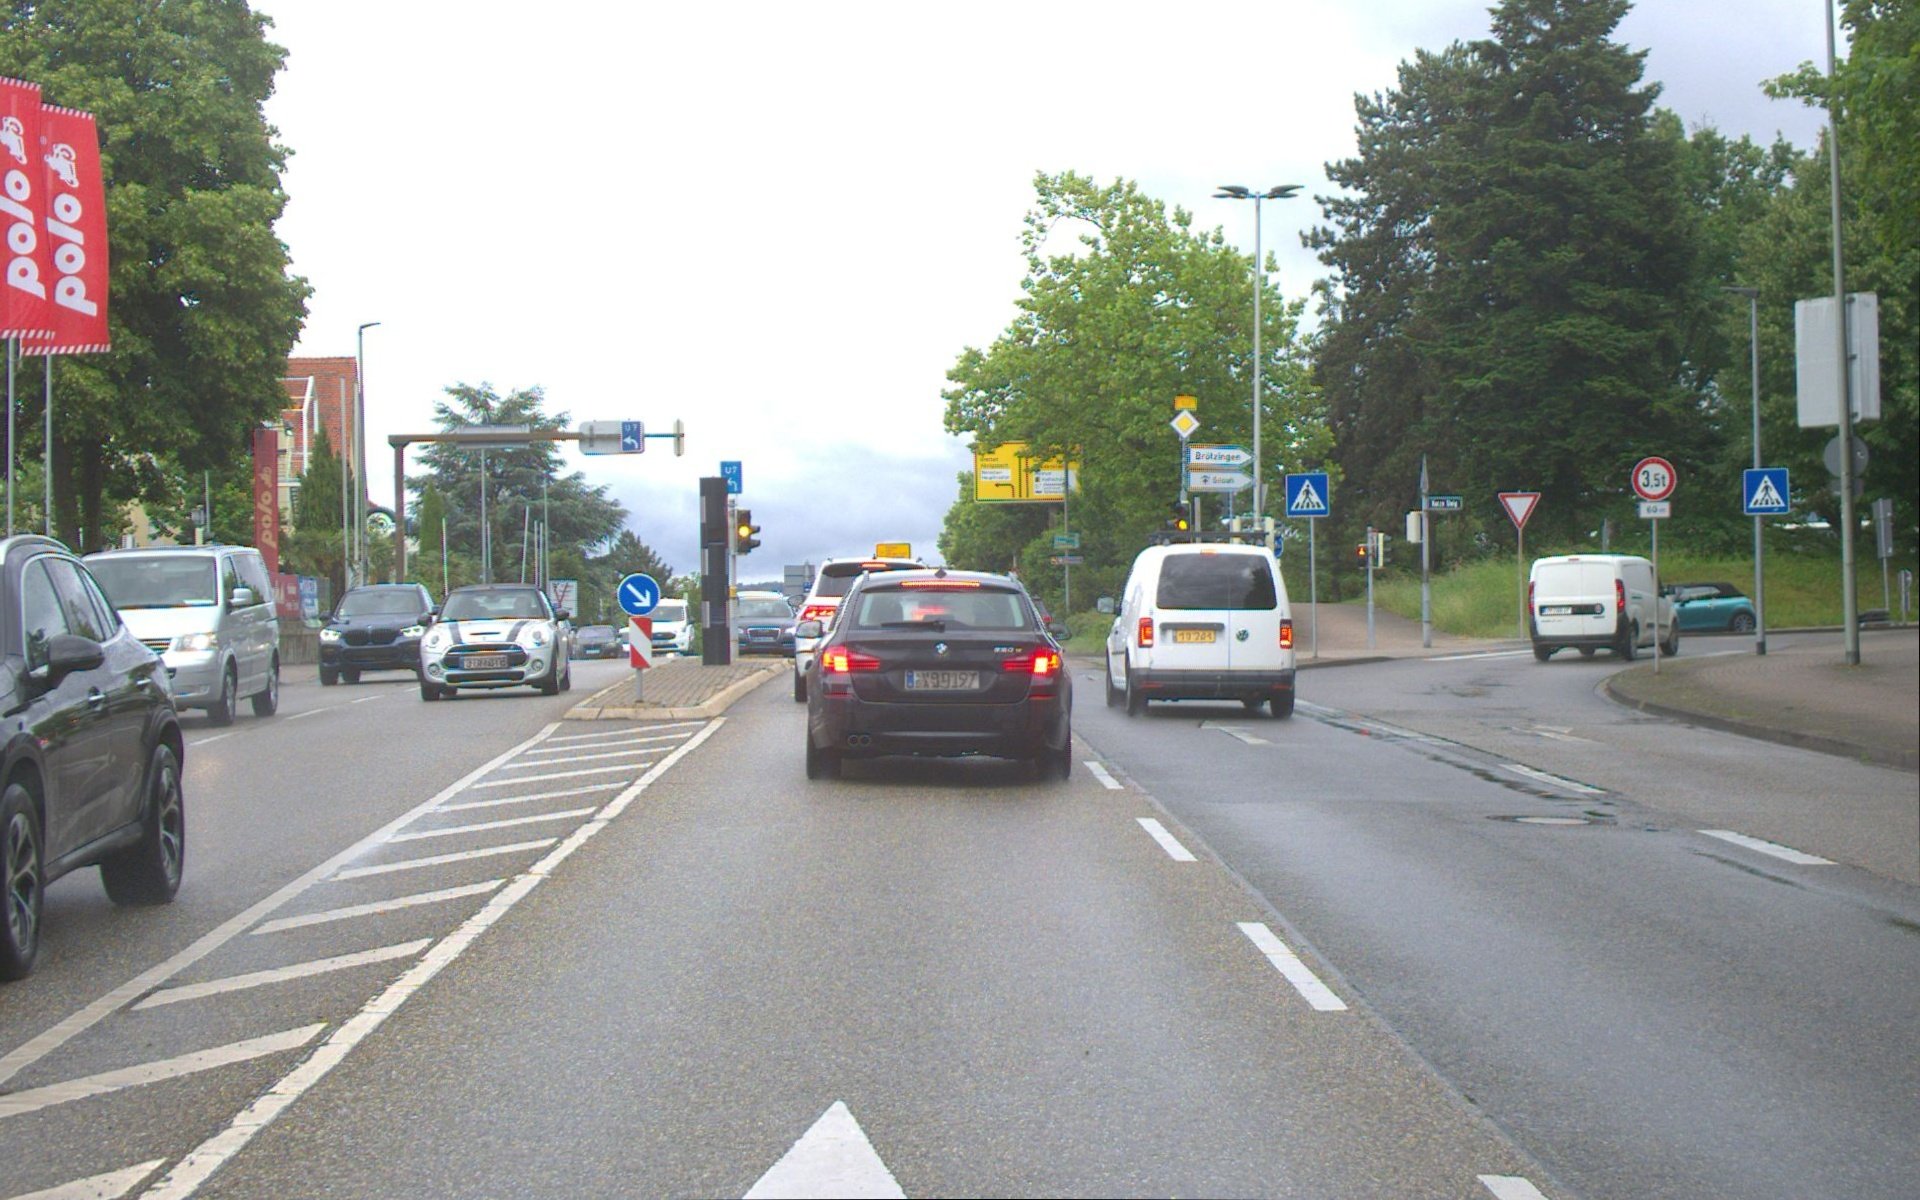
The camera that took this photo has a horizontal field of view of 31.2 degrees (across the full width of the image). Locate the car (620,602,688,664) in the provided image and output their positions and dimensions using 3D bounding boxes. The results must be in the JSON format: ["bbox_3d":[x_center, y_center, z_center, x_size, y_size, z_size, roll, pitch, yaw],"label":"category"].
[{"bbox_3d":[-9.523,1.015,107.119,1.857,1.817,4.580,-3,0,-3],"label":"car"}]

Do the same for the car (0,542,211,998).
[{"bbox_3d":[-4.348,0.608,13.726,1.822,1.602,4.284,-2,1,-1],"label":"car"}]

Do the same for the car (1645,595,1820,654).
[{"bbox_3d":[19.305,0.599,85.972,3.986,1.289,1.609,-2,1,-19],"label":"car"}]

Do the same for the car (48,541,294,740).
[{"bbox_3d":[-8.582,0.393,37.773,1.795,1.976,4.899,-2,1,-4],"label":"car"}]

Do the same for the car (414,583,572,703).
[{"bbox_3d":[-5.927,0.514,43.971,1.667,1.393,4.000,-2,0,-3],"label":"car"}]

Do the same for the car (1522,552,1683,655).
[{"bbox_3d":[11.394,0.035,60.790,1.817,1.702,3.940,0,2,26],"label":"car"}]

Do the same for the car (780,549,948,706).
[{"bbox_3d":[-1.083,0.284,40.158,1.728,1.705,3.382,1,1,2],"label":"car"}]

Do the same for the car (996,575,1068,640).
[{"bbox_3d":[1.666,0.165,80.347,1.600,1.367,3.680,-1,2,0],"label":"car"}]

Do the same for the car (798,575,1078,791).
[{"bbox_3d":[-0.104,0.540,24.907,1.855,1.414,3.956,1,0,1],"label":"car"}]

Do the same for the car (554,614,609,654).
[{"bbox_3d":[-13.978,1.242,127.151,1.668,1.377,4.072,-1,0,-2],"label":"car"}]

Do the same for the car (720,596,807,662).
[{"bbox_3d":[-4.546,0.655,79.073,1.894,1.451,4.097,-1,0,-4],"label":"car"}]

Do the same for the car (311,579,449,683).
[{"bbox_3d":[-9.892,0.493,58.901,1.751,1.605,4.533,-2,1,-3],"label":"car"}]

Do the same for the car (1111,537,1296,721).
[{"bbox_3d":[2.570,0.282,37.034,1.741,1.863,3.946,1,0,1],"label":"car"}]
